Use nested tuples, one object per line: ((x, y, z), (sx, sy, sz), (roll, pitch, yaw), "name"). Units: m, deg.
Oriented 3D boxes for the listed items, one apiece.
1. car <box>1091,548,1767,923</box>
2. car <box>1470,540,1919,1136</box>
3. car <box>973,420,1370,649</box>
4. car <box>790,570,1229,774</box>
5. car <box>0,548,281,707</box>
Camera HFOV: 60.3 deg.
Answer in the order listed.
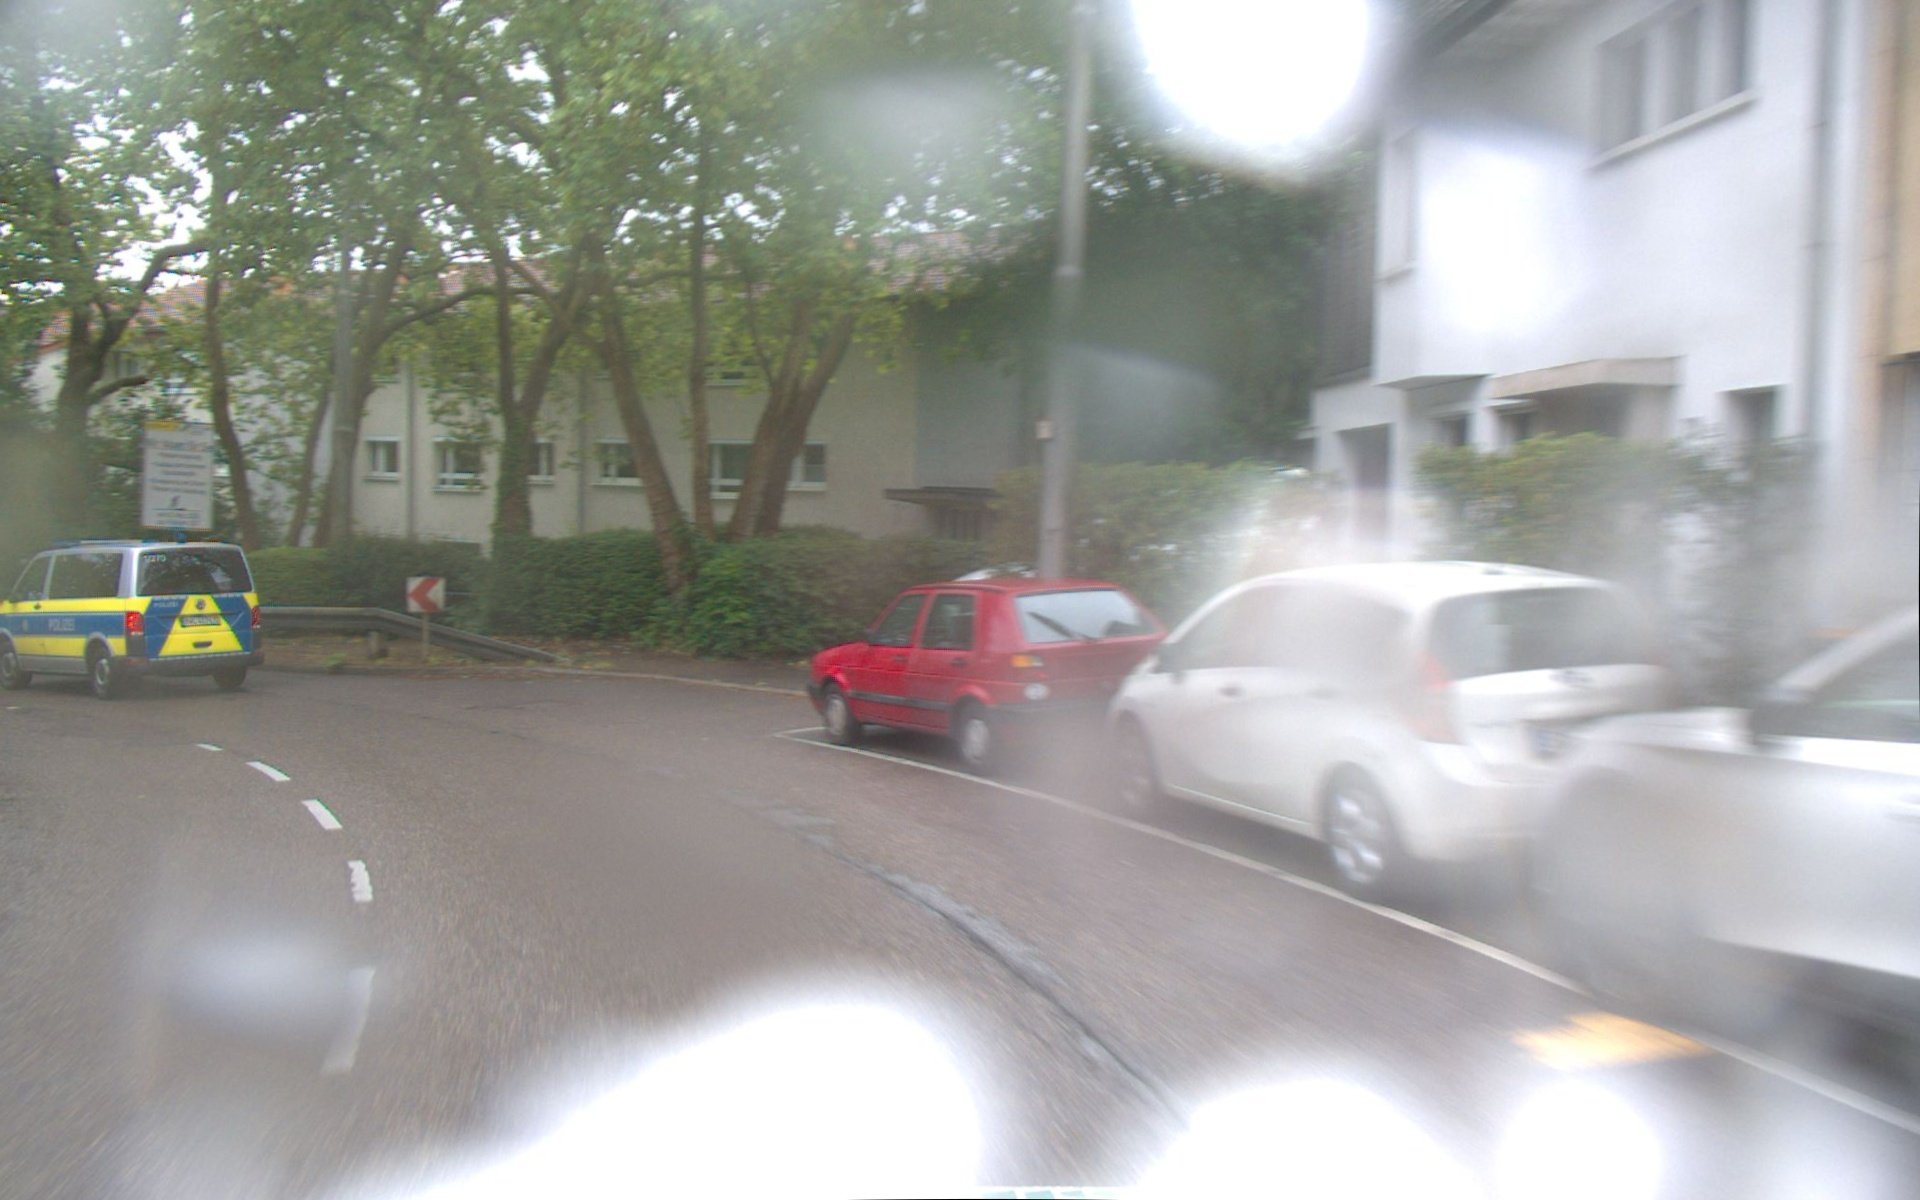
((2.253, 0.541, 9.037), (1.737, 1.541, 3.804), (-2, 1, -18), "car")
((3.423, 0.598, 4.547), (1.881, 1.565, 4.399), (-2, 0, -13), "car")
((2.467, -0.805, 20.105), (4.313, 1.872, 2.000), (-11, 3, -1), "car")
((0.231, 0.520, 13.829), (1.761, 1.391, 4.154), (-2, 0, -30), "car")
((-11.395, 0.316, 22.678), (4.486, 1.926, 1.990), (0, 3, 41), "car")
